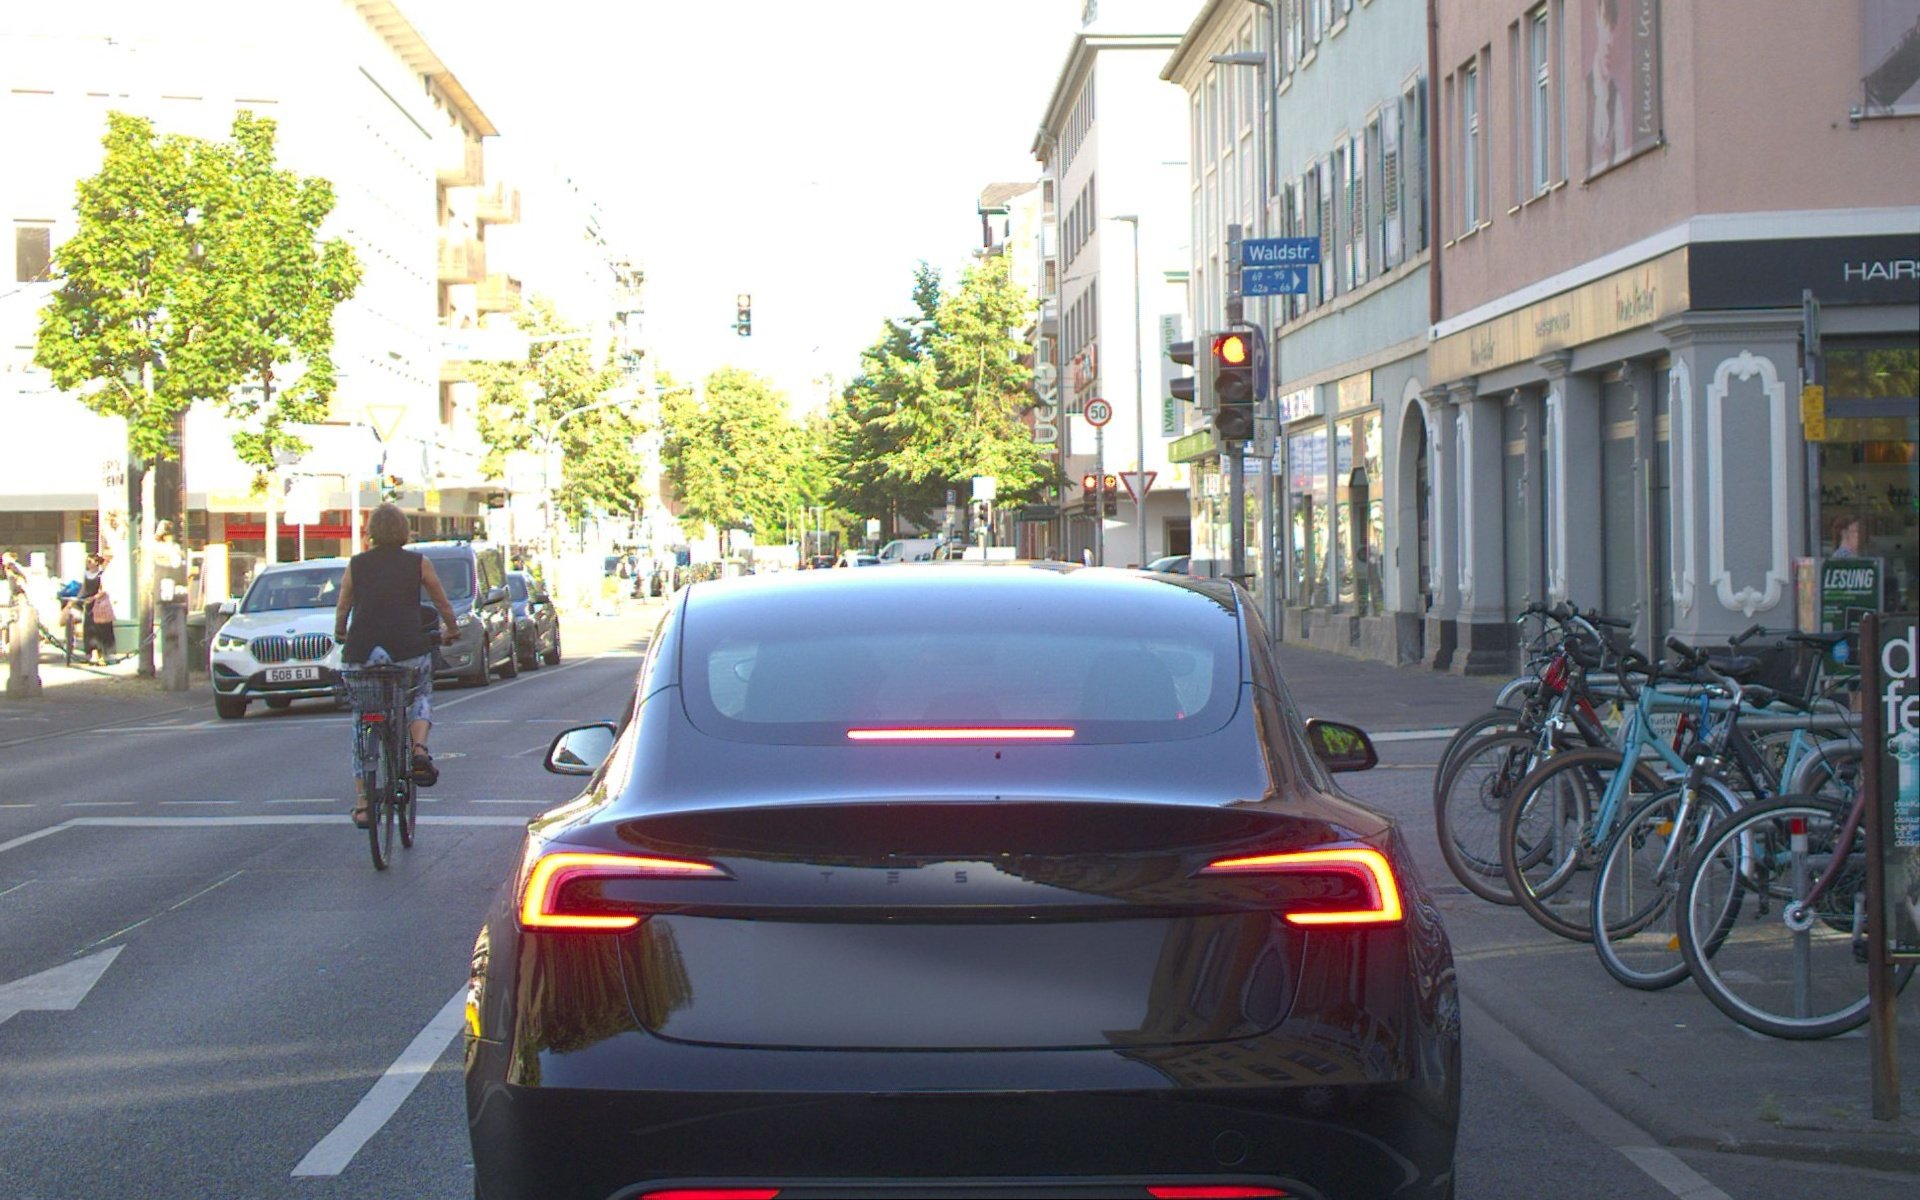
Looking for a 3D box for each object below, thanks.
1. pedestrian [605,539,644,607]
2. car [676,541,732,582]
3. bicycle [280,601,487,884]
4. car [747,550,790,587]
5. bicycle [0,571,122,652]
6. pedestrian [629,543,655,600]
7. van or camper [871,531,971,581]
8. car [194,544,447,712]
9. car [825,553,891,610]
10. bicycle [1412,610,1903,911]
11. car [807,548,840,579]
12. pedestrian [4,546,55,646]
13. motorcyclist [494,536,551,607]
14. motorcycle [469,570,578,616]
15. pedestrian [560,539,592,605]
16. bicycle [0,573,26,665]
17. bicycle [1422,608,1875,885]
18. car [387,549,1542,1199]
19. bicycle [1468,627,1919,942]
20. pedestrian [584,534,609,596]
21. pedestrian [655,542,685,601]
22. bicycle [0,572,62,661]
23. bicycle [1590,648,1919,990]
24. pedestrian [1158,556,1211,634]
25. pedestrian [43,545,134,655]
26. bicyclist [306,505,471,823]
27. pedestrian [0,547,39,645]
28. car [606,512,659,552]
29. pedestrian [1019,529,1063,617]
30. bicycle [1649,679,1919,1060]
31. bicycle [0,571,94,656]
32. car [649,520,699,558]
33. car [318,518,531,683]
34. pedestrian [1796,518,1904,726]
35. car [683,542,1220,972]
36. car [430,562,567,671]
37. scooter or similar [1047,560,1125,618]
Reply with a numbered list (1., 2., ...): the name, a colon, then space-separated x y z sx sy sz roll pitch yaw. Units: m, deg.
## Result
1. pedestrian: -9.234 -0.748 94.690 0.734 1.861 0.789 1 0 28
2. car: -12.378 -1.864 166.454 2.414 1.963 4.678 0 1 -1
3. bicycle: -2.749 0.646 16.570 0.628 1.219 2.001 1 1 1
4. car: -10.424 -1.735 187.136 2.132 1.963 4.134 0 1 -1
5. bicycle: -14.687 0.168 54.567 2.542 1.247 0.943 1 0 -3
6. pedestrian: -10.511 -0.955 113.593 0.694 1.861 0.910 1 0 -17
7. van or camper: -1.884 -2.129 167.550 4.850 2.430 1.851 0 1 -1
8. car: -6.681 0.257 36.342 1.825 1.559 4.301 -4 1 -1
9. car: -3.257 -0.602 109.451 2.035 1.782 4.007 0 1 -3
10. bicycle: 2.735 0.621 13.603 1.813 1.148 0.653 0 1 1
11. car: -8.034 -2.146 202.246 1.892 1.807 3.925 1 1 -2
12. pedestrian: -16.487 -0.074 60.911 0.844 1.754 0.707 1 0 -17
13. motorcyclist: -10.179 -0.670 80.044 1.109 1.627 0.776 1 0 -26
14. motorcycle: -10.167 -0.155 80.034 2.377 1.032 0.783 1 0 -24
15. pedestrian: -10.857 -0.796 97.222 0.732 1.861 0.791 1 0 -17
16. bicycle: -14.480 0.239 47.549 2.875 1.266 0.943 1 0 -3
17. bicycle: 2.927 0.613 14.737 1.813 1.148 0.653 0 1 1
18. car: -0.020 0.629 7.775 1.850 1.442 4.452 1 1 -1
19. bicycle: 2.805 0.657 12.529 1.813 1.098 0.653 0 1 1
20. pedestrian: -10.985 -1.069 103.881 0.695 1.861 0.659 1 0 -5
21. pedestrian: -9.266 -0.901 109.923 0.774 1.861 1.009 1 0 -15
22. bicycle: -14.481 0.222 49.867 2.662 1.255 0.943 1 0 -3
23. bicycle: 3.004 0.693 11.123 1.813 1.056 0.653 0 1 1
24. pedestrian: 4.643 -0.101 71.221 0.806 1.604 0.709 0 1 -37
25. pedestrian: -12.932 -0.008 51.039 1.092 1.606 1.267 1 0 -5
26. bicyclist: -2.743 0.295 16.566 0.606 1.479 0.958 1 0 1
27. pedestrian: -16.885 -0.075 61.488 0.658 1.754 0.654 1 0 -26
28. car: -17.108 -3.530 179.644 2.275 2.007 4.717 1 1 1
29. pedestrian: 1.613 -0.538 68.549 0.658 1.754 0.654 1 0 -24
30. bicycle: 3.030 0.760 10.051 1.882 1.040 0.653 -1 1 1
31. bicycle: -14.526 0.194 52.143 2.542 1.247 0.943 1 0 -3
32. car: -15.631 -3.350 188.284 2.275 2.007 4.717 1 1 1
33. car: -6.566 -0.032 42.665 1.945 1.940 4.820 0 1 -1
34. pedestrian: 6.787 0.160 26.204 0.722 1.544 0.791 1 0 18
35. car: -0.055 0.525 14.200 1.850 1.476 4.452 1 1 -1
36. car: -6.647 0.208 49.799 1.461 1.425 3.606 -4 1 -1
37. scooter or similar: 2.521 -0.222 68.982 1.333 1.131 0.810 1 0 -24
